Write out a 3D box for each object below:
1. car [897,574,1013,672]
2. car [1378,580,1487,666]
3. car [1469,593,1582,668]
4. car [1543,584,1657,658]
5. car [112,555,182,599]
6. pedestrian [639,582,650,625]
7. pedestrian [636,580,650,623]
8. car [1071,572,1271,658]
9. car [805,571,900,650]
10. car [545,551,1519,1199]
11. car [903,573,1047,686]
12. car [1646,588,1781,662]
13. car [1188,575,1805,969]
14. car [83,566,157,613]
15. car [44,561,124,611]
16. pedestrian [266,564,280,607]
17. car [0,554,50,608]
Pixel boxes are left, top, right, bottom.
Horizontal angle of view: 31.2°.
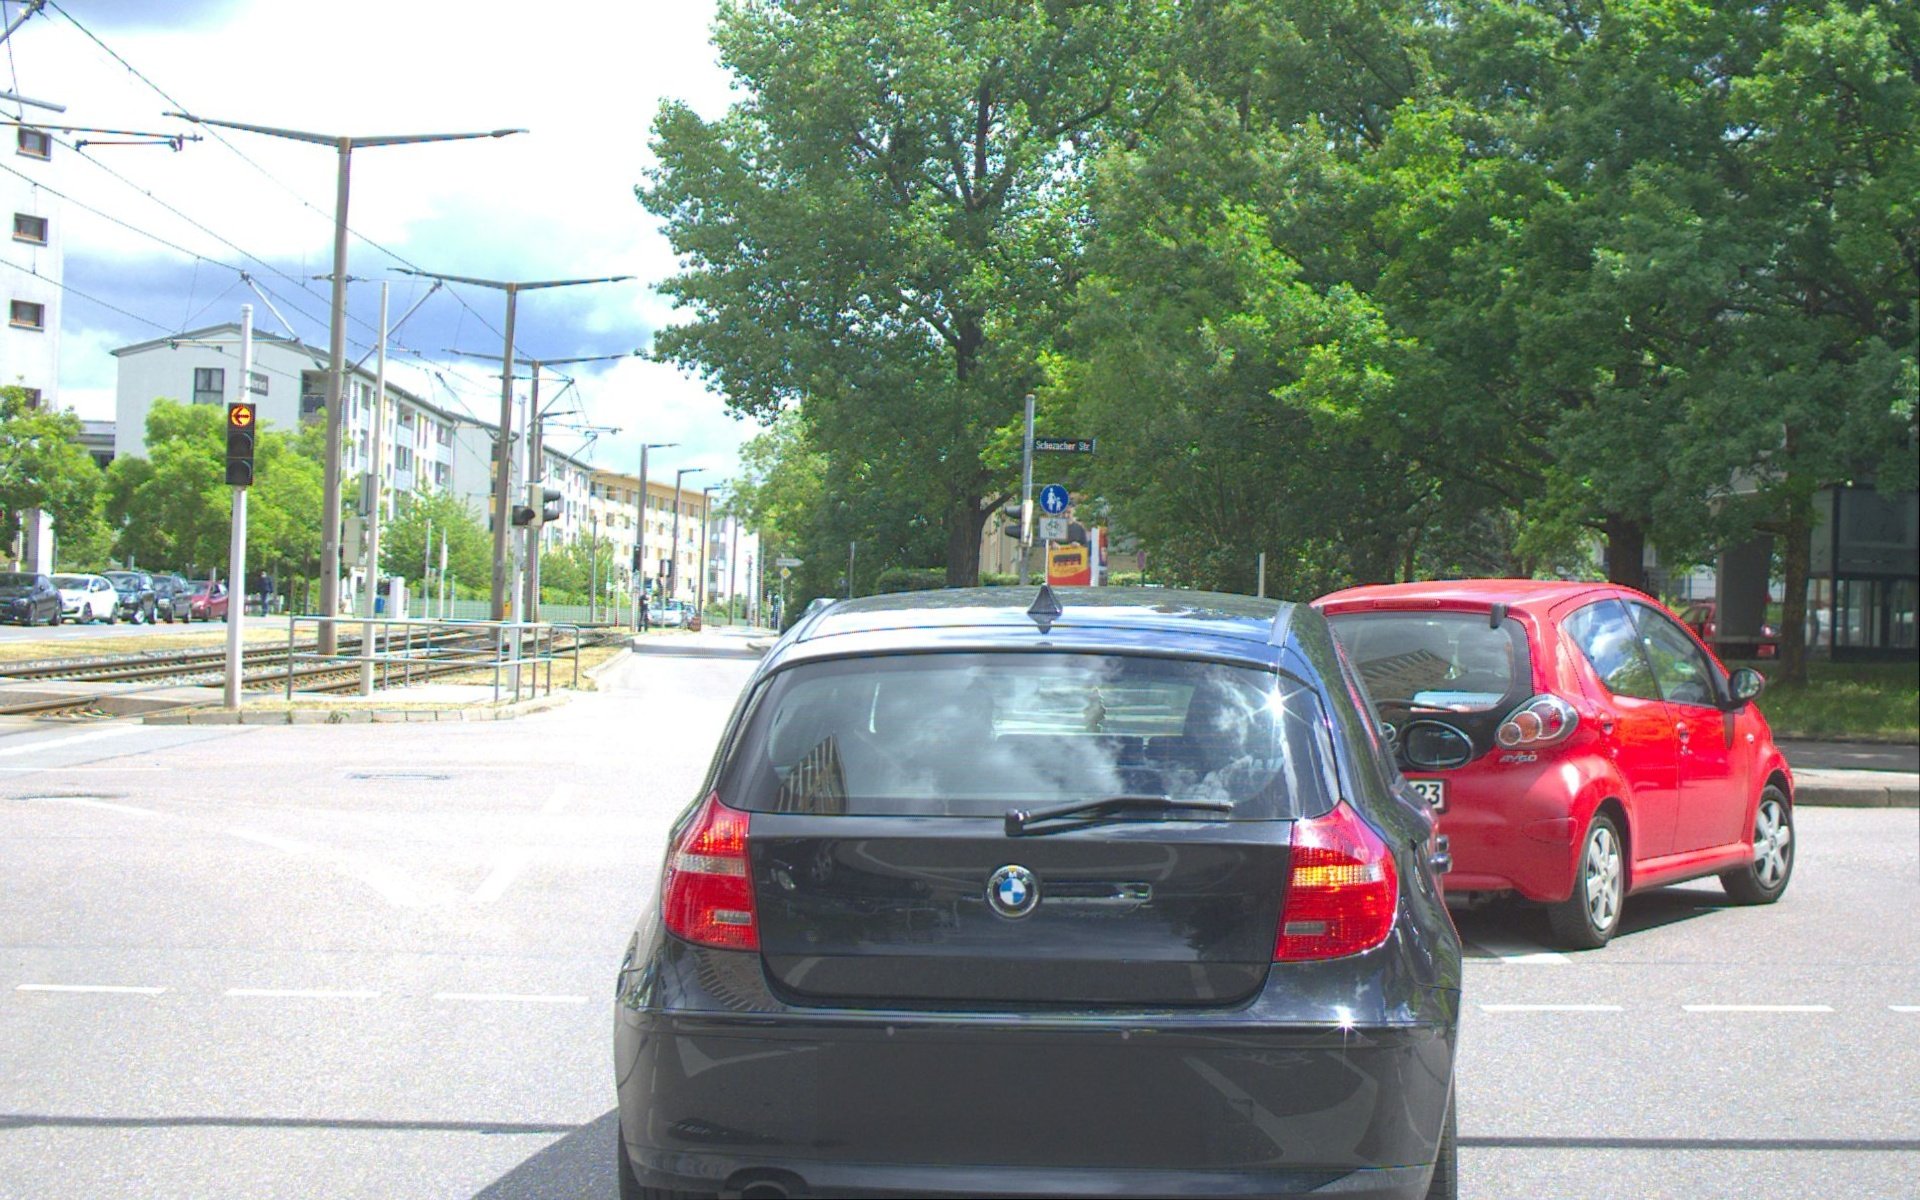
[{"bbox_3d":[-0.100,0.409,61.629,1.993,1.678,4.000,1,0,0],"label":"car"},{"bbox_3d":[10.555,0.496,77.013,1.630,1.804,4.033,1,1,-3],"label":"car"},{"bbox_3d":[12.749,0.665,77.703,1.630,1.567,4.033,1,1,-3],"label":"car"},{"bbox_3d":[14.645,0.462,78.809,1.630,1.589,4.001,1,1,-3],"label":"car"},{"bbox_3d":[-26.504,-0.762,112.124,1.760,1.390,4.001,1,1,-7],"label":"car"},{"bbox_3d":[-12.124,0.126,132.074,0.333,1.622,0.358,1,1,-18],"label":"pedestrian"},{"bbox_3d":[-12.189,0.061,132.117,0.478,1.631,0.454,1,1,-1],"label":"pedestrian"},{"bbox_3d":[4.647,0.327,75.685,3.986,1.817,1.779,1,1,-22],"label":"car"},{"bbox_3d":[-2.385,0.211,76.908,1.993,1.678,4.000,1,1,0],"label":"car"},{"bbox_3d":[0.298,0.644,8.254,1.753,1.482,3.999,1,1,5],"label":"car"},{"bbox_3d":[0.214,0.452,54.180,2.152,1.678,4.000,1,0,0],"label":"car"},{"bbox_3d":[17.351,0.551,79.331,1.730,1.589,4.001,1,1,-8],"label":"car"},{"bbox_3d":[2.372,0.633,14.624,1.544,1.436,3.191,2,1,29],"label":"car"},{"bbox_3d":[-26.142,-0.346,107.118,1.760,1.390,4.001,1,1,-7],"label":"car"},{"bbox_3d":[-25.698,-0.423,100.994,1.760,1.390,4.001,1,1,-7],"label":"car"},{"bbox_3d":[-26.778,-0.569,133.999,0.452,1.631,0.480,1,1,-3],"label":"pedestrian"},{"bbox_3d":[-25.944,-0.534,93.476,1.760,1.390,4.001,1,1,-7],"label":"car"}]
